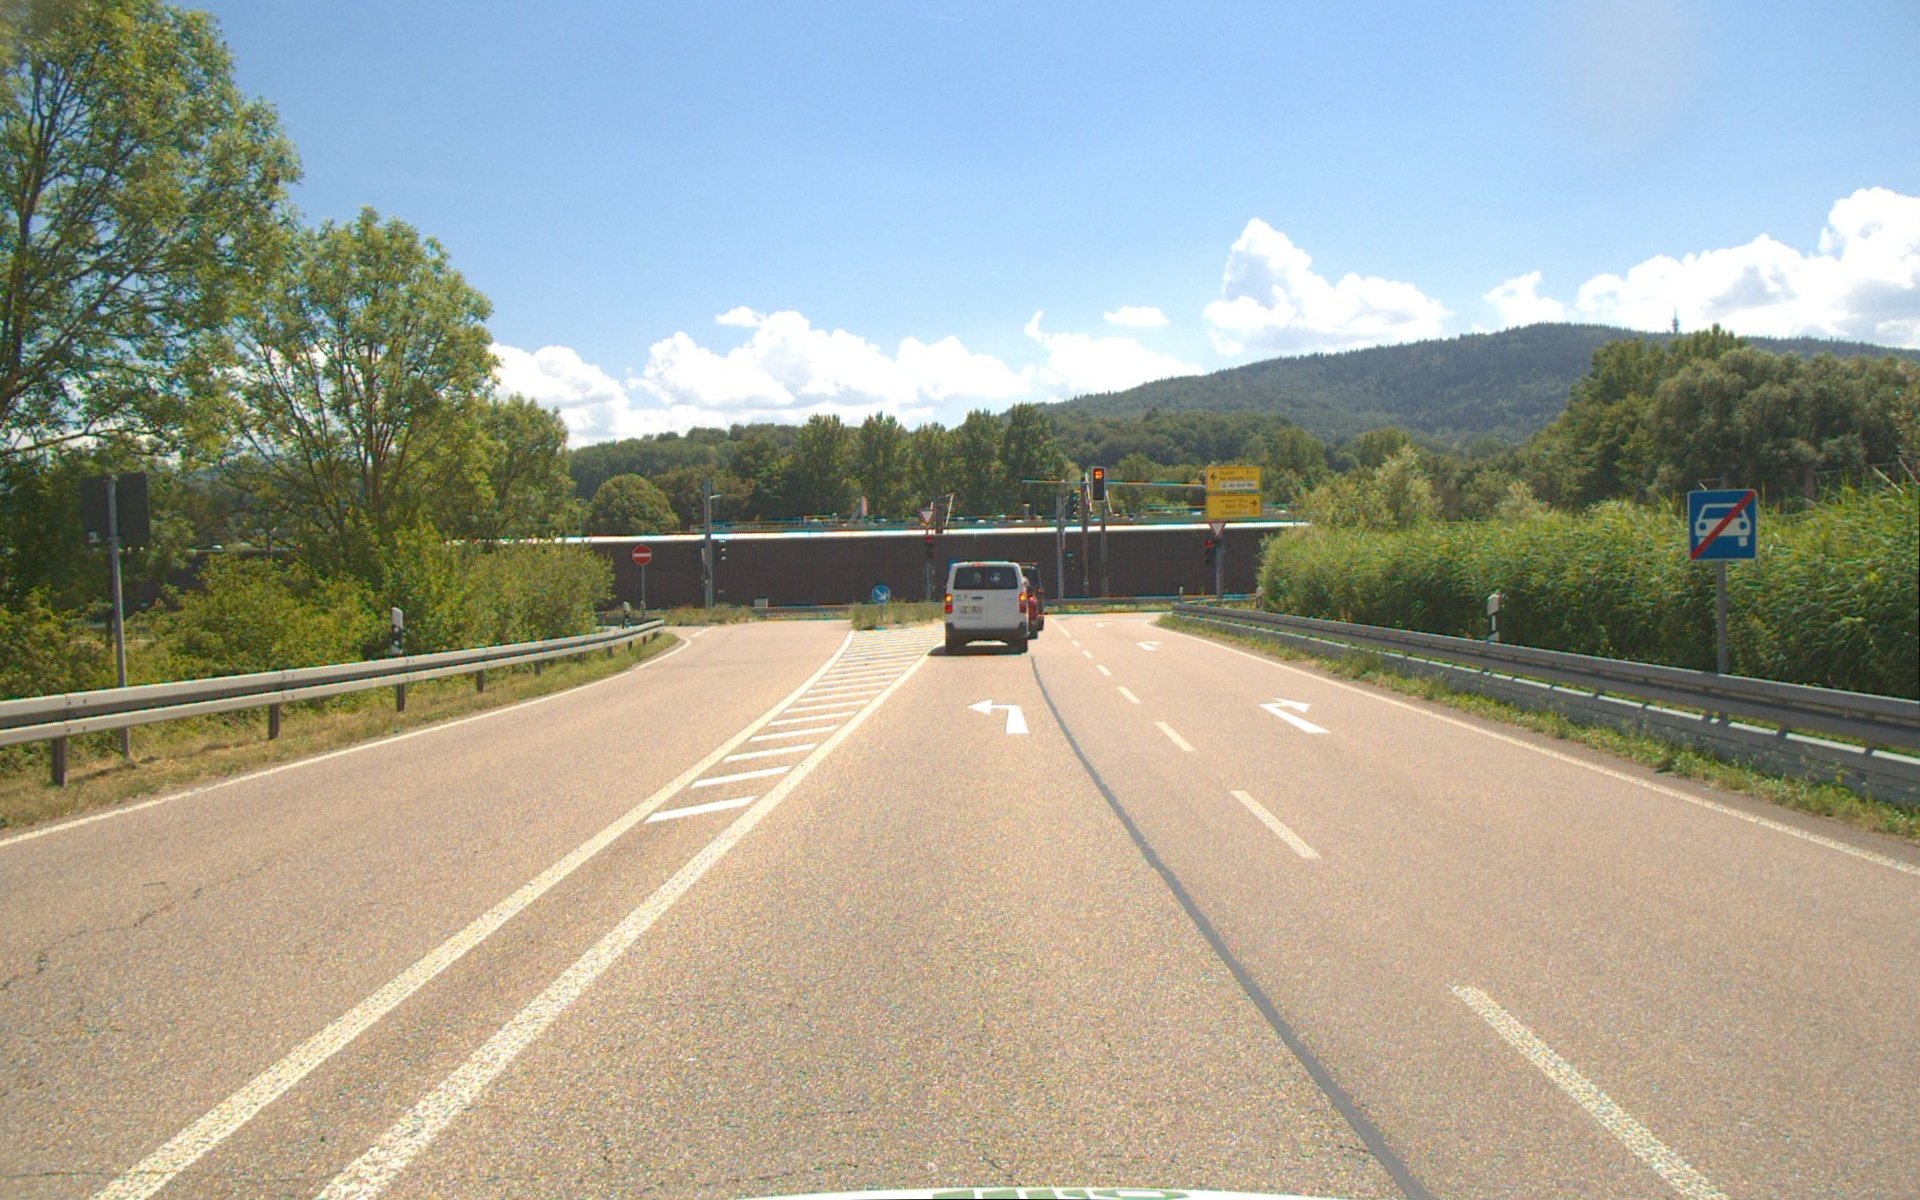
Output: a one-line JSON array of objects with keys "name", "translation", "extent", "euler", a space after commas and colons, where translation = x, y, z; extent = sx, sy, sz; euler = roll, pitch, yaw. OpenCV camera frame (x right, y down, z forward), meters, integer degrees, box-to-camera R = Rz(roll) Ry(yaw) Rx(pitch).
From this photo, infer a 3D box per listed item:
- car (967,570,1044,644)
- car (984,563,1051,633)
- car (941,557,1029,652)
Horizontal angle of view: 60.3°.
[{"name": "car", "translation": [1.253, 0.162, 45.434], "extent": [1.952, 1.843, 4.001], "euler": [-3, 0, 2]}, {"name": "car", "translation": [1.814, -0.076, 52.340], "extent": [1.952, 2.048, 4.001], "euler": [-3, 0, 2]}, {"name": "car", "translation": [0.577, 0.084, 36.961], "extent": [1.831, 1.999, 4.001], "euler": [-1, 0, 1]}]
